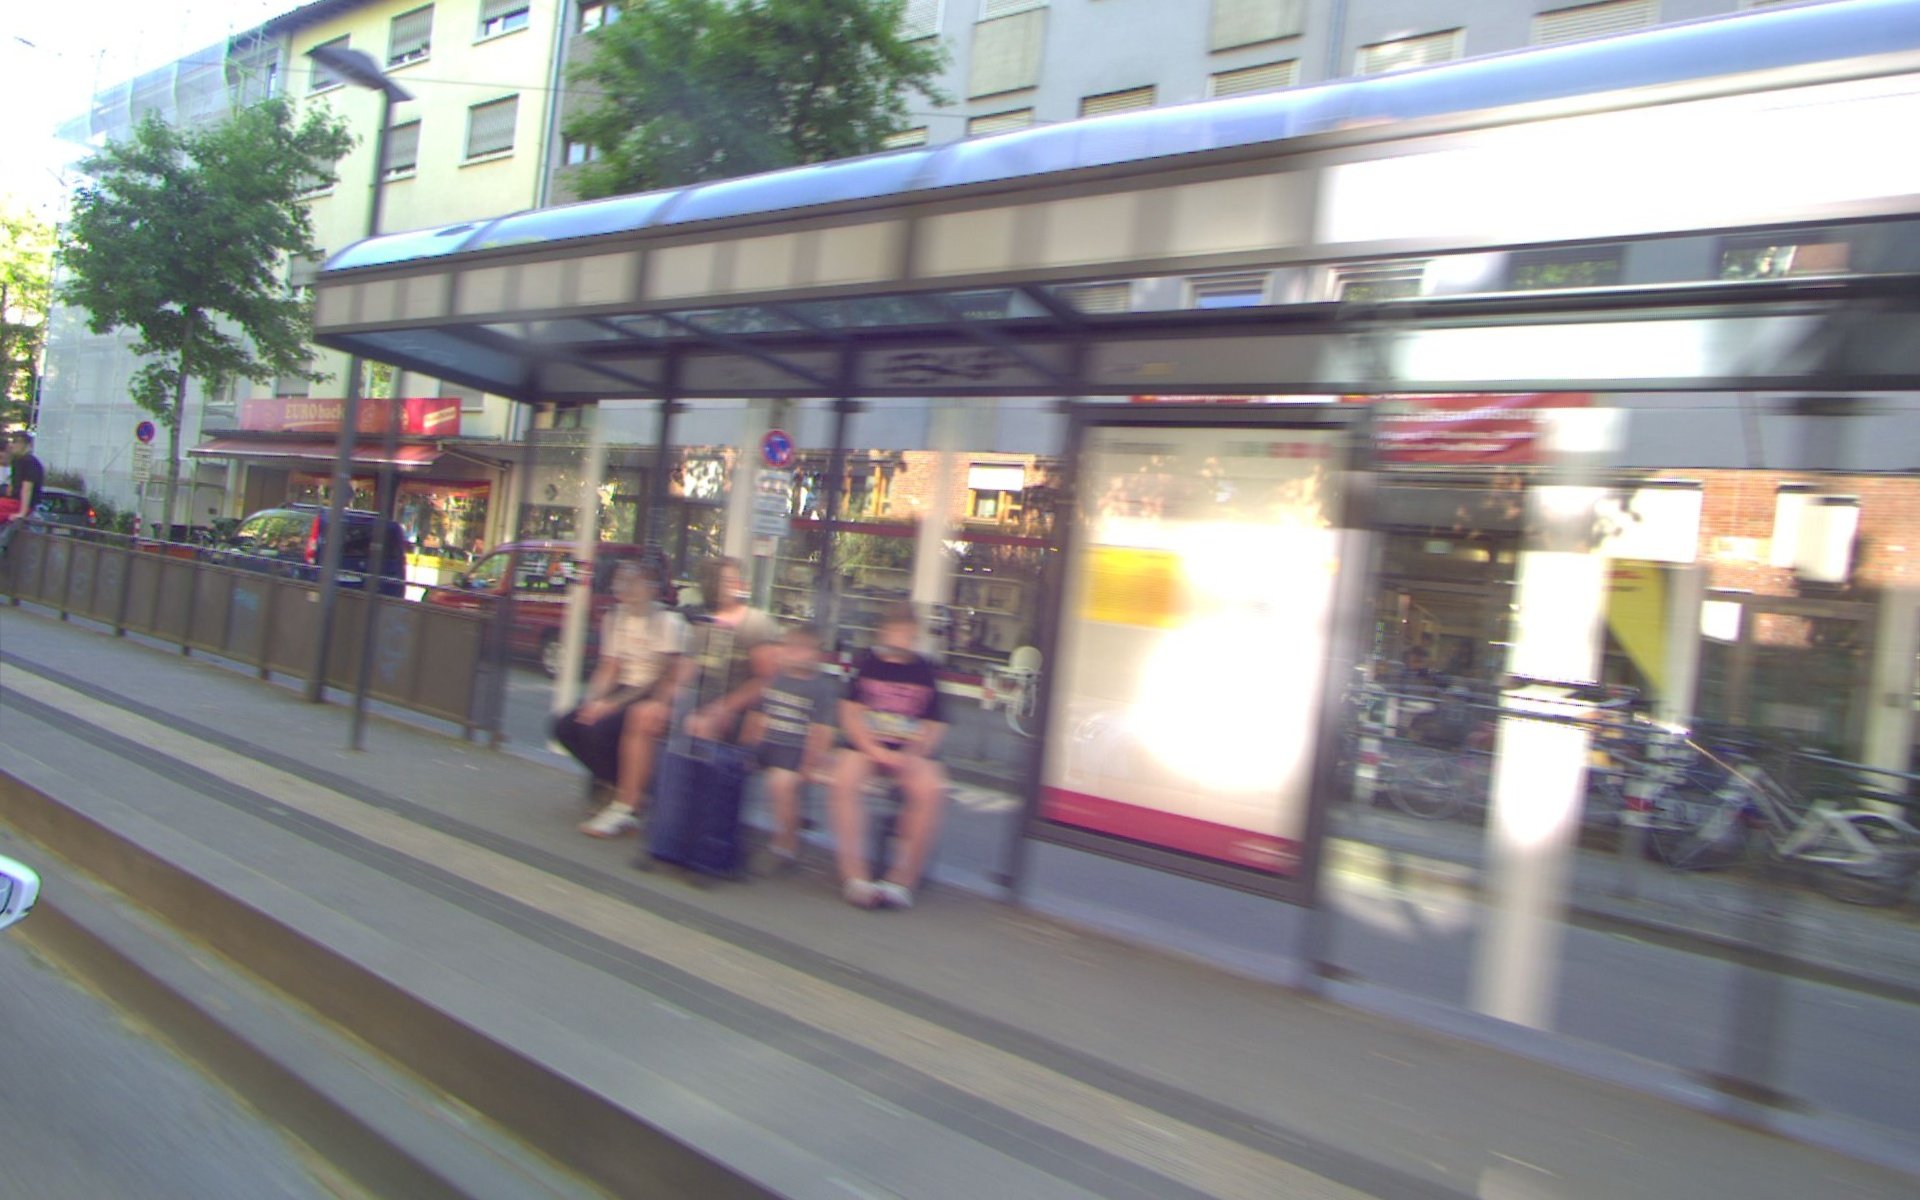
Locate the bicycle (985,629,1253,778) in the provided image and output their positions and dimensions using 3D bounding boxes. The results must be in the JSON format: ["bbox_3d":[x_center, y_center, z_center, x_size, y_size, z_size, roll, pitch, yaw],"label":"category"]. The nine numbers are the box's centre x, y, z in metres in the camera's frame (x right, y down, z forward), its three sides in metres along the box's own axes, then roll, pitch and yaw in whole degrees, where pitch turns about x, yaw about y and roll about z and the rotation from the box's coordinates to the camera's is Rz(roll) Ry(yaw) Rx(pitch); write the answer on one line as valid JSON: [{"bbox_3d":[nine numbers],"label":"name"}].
[{"bbox_3d":[1.719,1.078,11.141,2.734,1.196,0.771,7,3,27],"label":"bicycle"}]

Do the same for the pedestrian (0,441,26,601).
[{"bbox_3d":[-11.137,-0.925,11.508,0.491,1.790,0.695,8,-1,-44],"label":"pedestrian"}]

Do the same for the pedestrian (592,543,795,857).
[{"bbox_3d":[-1.233,0.453,4.727,0.517,1.320,0.586,7,-1,21],"label":"pedestrian"}]

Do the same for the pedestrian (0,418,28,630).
[{"bbox_3d":[-7.852,-0.589,7.587,0.821,1.732,0.640,7,-1,-3],"label":"pedestrian"}]

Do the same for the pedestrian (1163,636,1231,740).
[{"bbox_3d":[3.046,1.119,12.907,0.637,1.219,0.681,7,-1,21],"label":"pedestrian"}]

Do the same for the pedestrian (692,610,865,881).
[{"bbox_3d":[-0.784,0.615,4.433,0.418,1.068,0.522,7,-1,21],"label":"pedestrian"}]

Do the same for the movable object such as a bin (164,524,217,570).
[{"bbox_3d":[-21.263,-1.462,27.803,0.685,1.125,0.882,7,1,29],"label":"movable object such as a bin"}]

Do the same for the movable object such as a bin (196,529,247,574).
[{"bbox_3d":[-20.855,-1.363,28.408,0.685,1.125,0.882,7,1,29],"label":"movable object such as a bin"}]

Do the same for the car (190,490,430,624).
[{"bbox_3d":[-11.471,-0.776,17.685,4.126,1.921,1.993,7,3,33],"label":"car"}]

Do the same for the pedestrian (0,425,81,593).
[{"bbox_3d":[-10.455,-1.010,11.043,0.680,1.720,0.847,7,-1,25],"label":"pedestrian"}]

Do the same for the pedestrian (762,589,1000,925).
[{"bbox_3d":[-0.309,0.623,4.263,0.637,1.219,0.681,7,-1,21],"label":"pedestrian"}]

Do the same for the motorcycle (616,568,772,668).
[{"bbox_3d":[-4.604,0.271,17.313,2.605,1.336,0.951,8,5,30],"label":"motorcycle"}]

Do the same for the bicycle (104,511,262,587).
[{"bbox_3d":[-15.380,-0.981,19.982,1.012,1.225,2.206,7,0,31],"label":"bicycle"}]

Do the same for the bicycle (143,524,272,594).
[{"bbox_3d":[-15.833,-0.854,21.199,2.169,1.225,0.685,6,1,3],"label":"bicycle"}]

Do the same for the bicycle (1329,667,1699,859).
[{"bbox_3d":[4.933,1.429,9.217,2.730,1.197,0.772,7,5,15],"label":"bicycle"}]

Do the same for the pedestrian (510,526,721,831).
[{"bbox_3d":[-1.673,0.376,4.962,0.484,1.341,0.722,7,-1,21],"label":"pedestrian"}]

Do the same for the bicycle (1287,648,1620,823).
[{"bbox_3d":[4.734,1.273,9.923,2.730,1.197,0.772,7,5,17],"label":"bicycle"}]

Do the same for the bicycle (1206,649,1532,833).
[{"bbox_3d":[3.917,1.294,9.822,2.734,1.197,0.771,8,5,27],"label":"bicycle"}]

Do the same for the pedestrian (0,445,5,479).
[{"bbox_3d":[-11.823,-1.010,11.711,0.570,1.775,0.690,7,-1,25],"label":"pedestrian"}]

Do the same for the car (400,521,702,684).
[{"bbox_3d":[-5.799,-0.021,14.139,4.103,1.778,1.689,6,2,30],"label":"car"}]

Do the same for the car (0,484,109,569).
[{"bbox_3d":[-21.837,-1.810,23.475,4.369,1.642,1.763,7,1,33],"label":"car"}]

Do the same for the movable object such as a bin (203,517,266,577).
[{"bbox_3d":[-19.001,-1.389,26.352,0.811,1.414,1.000,7,1,29],"label":"movable object such as a bin"}]

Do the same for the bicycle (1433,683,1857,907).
[{"bbox_3d":[5.591,1.549,8.508,2.734,1.197,0.771,8,5,27],"label":"bicycle"}]

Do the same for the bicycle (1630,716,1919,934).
[{"bbox_3d":[6.840,1.752,7.612,2.734,1.197,0.771,8,5,27],"label":"bicycle"}]

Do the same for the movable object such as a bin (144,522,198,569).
[{"bbox_3d":[-21.167,-1.462,26.995,0.685,1.125,0.882,7,1,29],"label":"movable object such as a bin"}]
